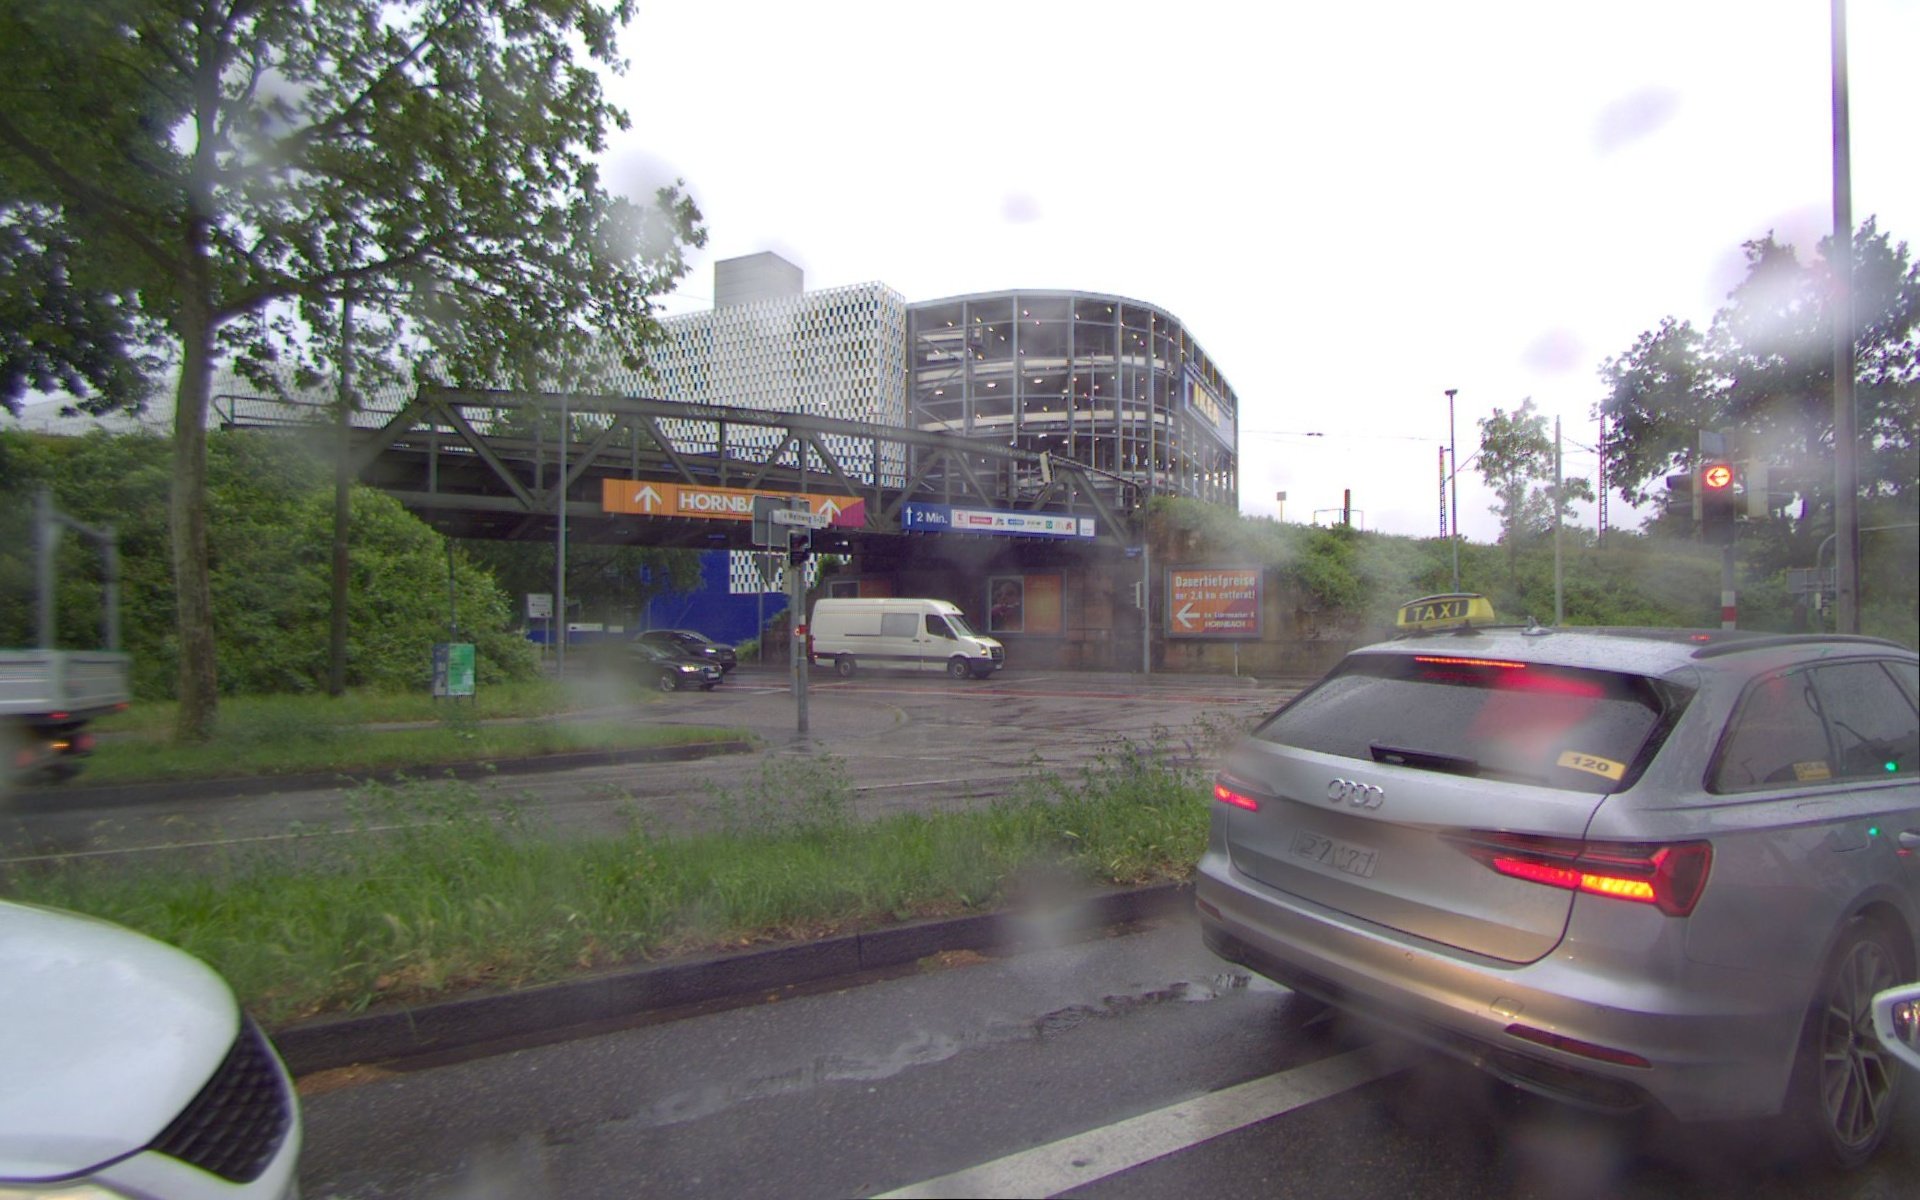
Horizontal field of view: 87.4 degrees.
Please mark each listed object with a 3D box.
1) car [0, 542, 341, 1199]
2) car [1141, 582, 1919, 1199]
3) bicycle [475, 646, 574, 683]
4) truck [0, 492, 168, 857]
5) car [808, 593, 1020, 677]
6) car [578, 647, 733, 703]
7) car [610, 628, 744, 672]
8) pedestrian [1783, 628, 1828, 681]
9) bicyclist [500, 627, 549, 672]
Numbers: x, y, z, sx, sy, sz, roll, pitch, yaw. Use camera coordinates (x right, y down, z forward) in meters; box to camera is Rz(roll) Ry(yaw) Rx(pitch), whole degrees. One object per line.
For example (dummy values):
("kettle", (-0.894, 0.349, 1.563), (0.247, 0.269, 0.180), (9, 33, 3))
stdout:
("car", (-2.881, 0.592, 0.862), (3.966, 1.395, 1.669), (1, 0, -32))
("car", (3.139, 0.802, 4.075), (4.766, 1.595, 1.760), (1, 0, -31))
("bicycle", (-15.069, 2.224, 34.762), (3.385, 1.220, 1.199), (-1, -3, 25))
("truck", (-9.425, 0.448, 6.174), (6.788, 2.396, 2.462), (2, -2, -31))
("car", (-1.592, 1.179, 33.981), (6.847, 2.645, 2.386), (-1, -2, 25))
("car", (-8.646, 2.074, 28.496), (4.067, 1.453, 1.693), (-1, -1, 22))
("car", (-10.810, 1.878, 38.346), (4.858, 1.621, 1.882), (-1, -2, 24))
("pedestrian", (31.063, 1.990, 36.903), (1.122, 1.871, 1.092), (2, -3, -42))
("bicyclist", (-15.067, 1.704, 34.780), (1.037, 1.503, 1.152), (-1, -2, 25))
